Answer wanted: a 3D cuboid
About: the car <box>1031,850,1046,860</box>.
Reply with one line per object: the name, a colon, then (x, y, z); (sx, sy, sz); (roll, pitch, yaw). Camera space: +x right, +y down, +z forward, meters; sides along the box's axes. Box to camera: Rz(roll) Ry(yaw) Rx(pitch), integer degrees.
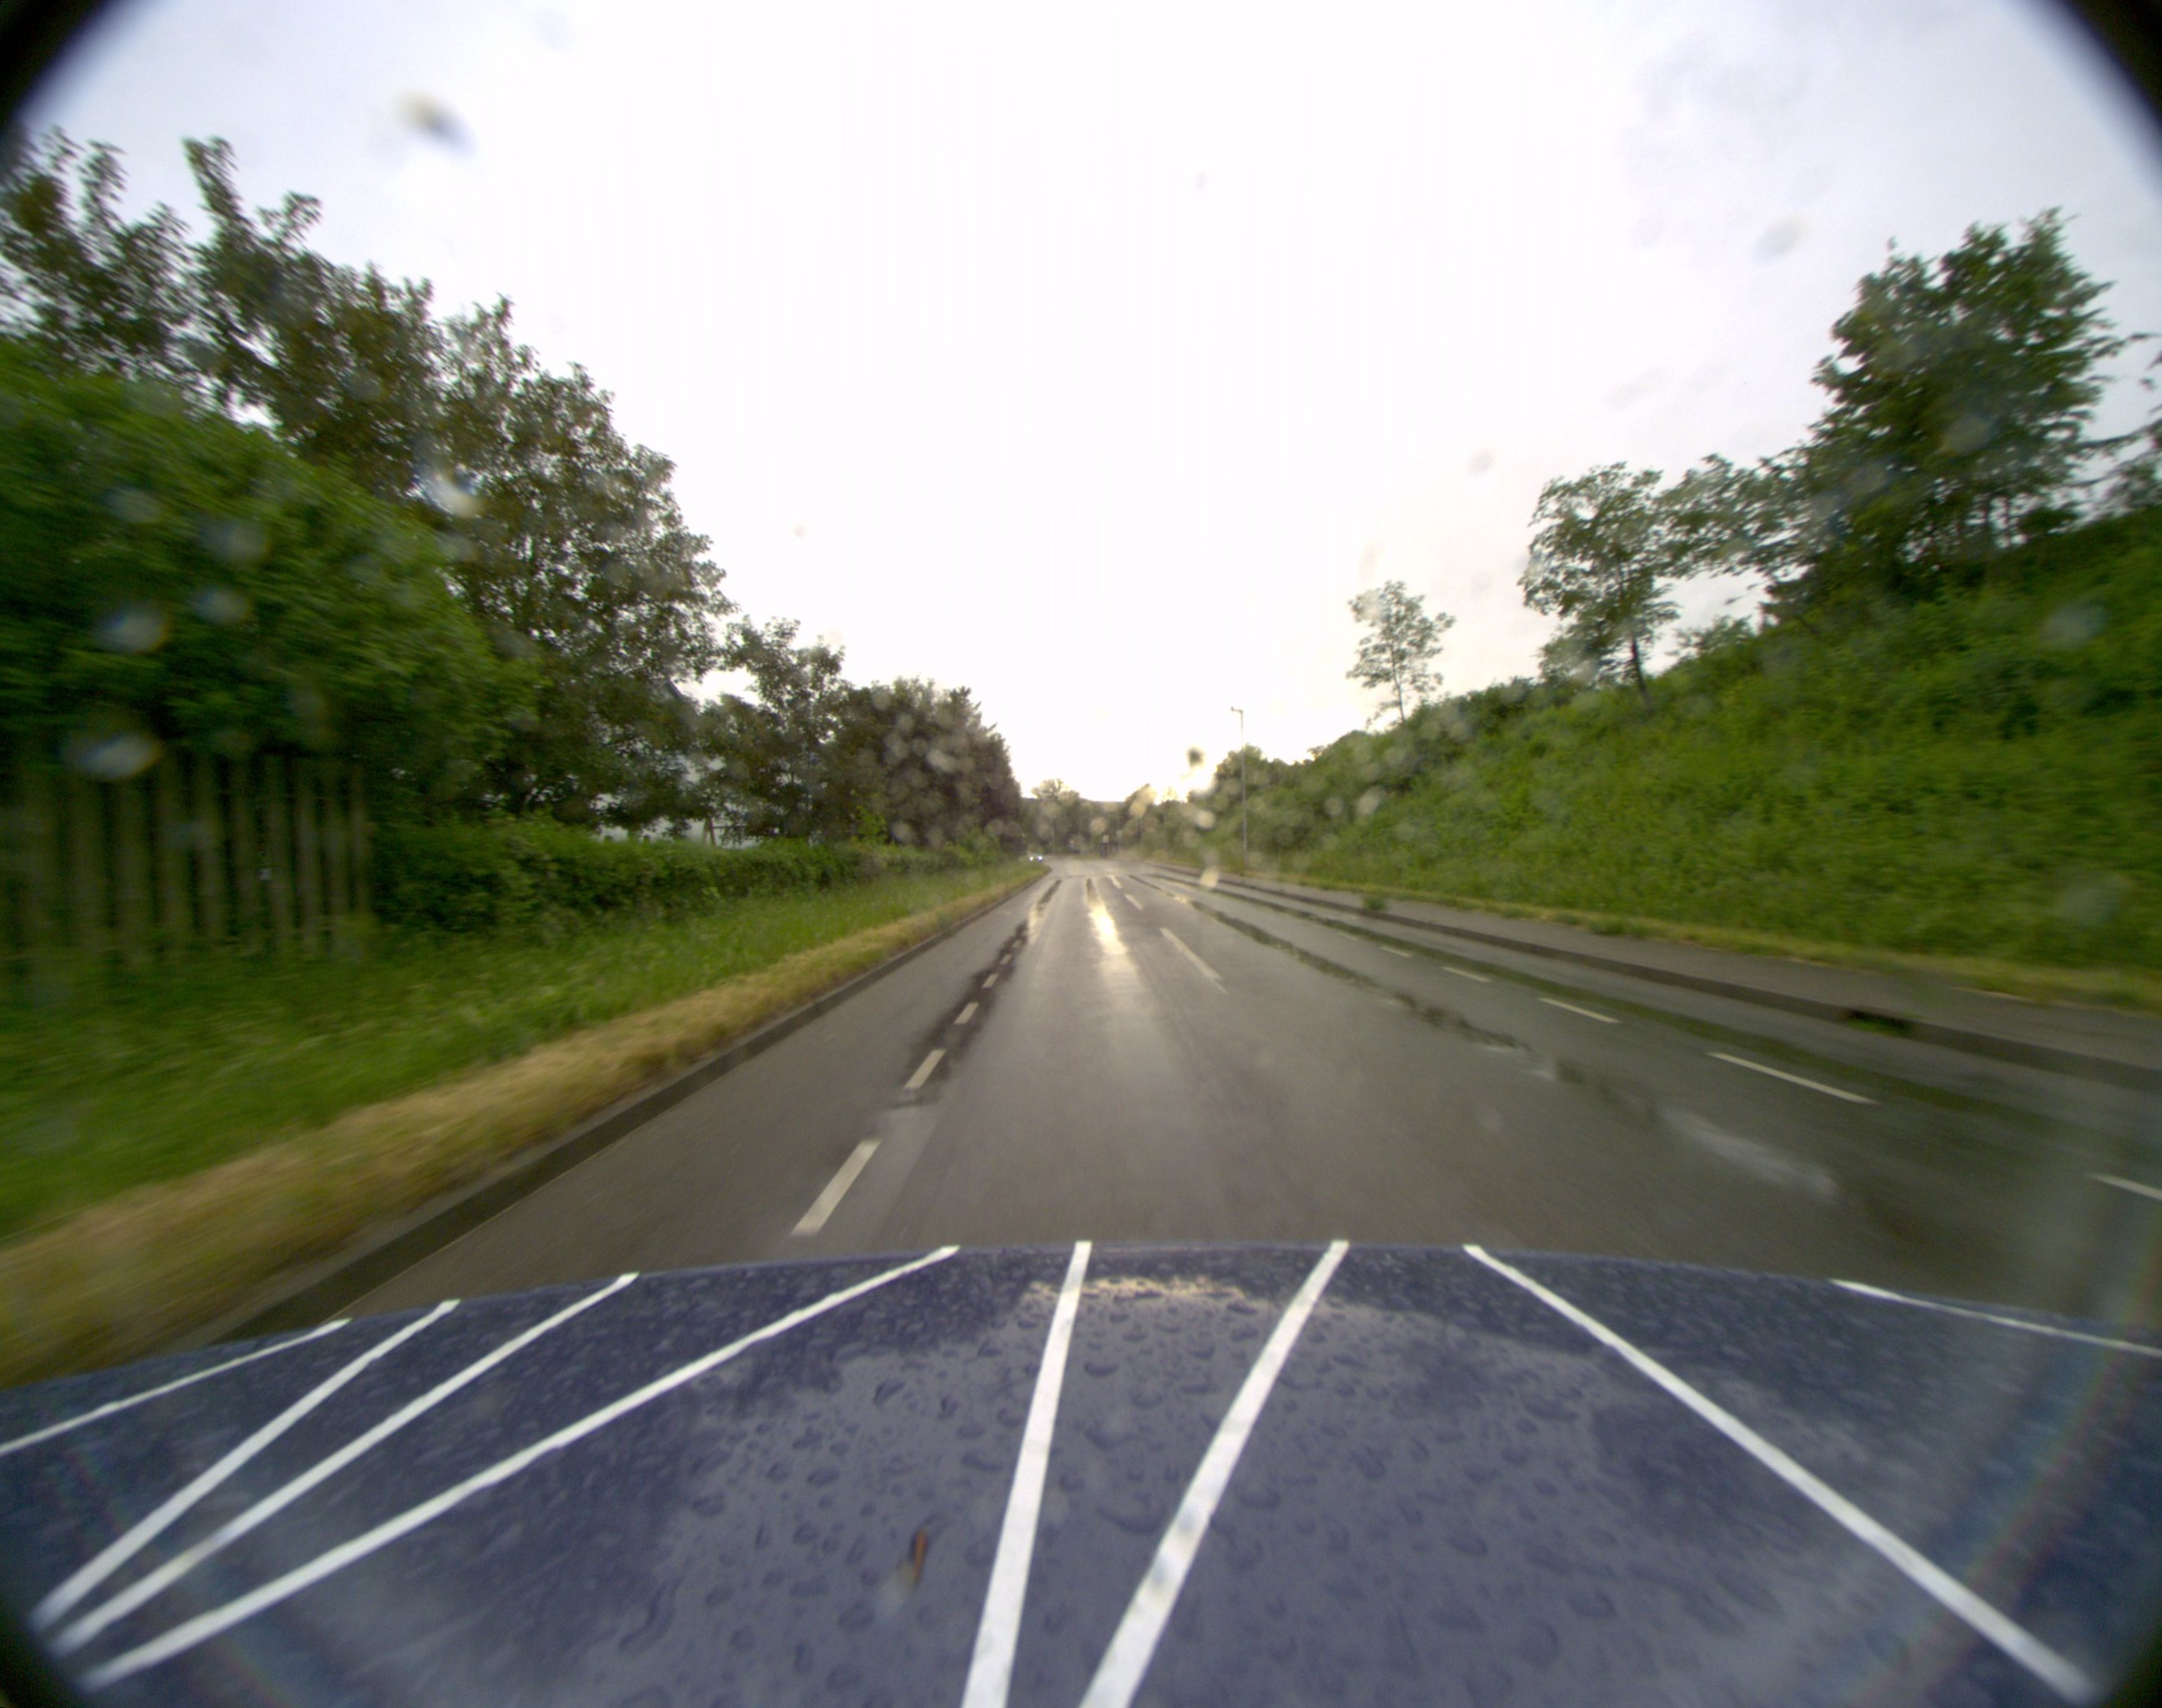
car: (-6.817, 0.115, 122.035); (1.881, 1.596, 3.995); (-1, 1, -11)
